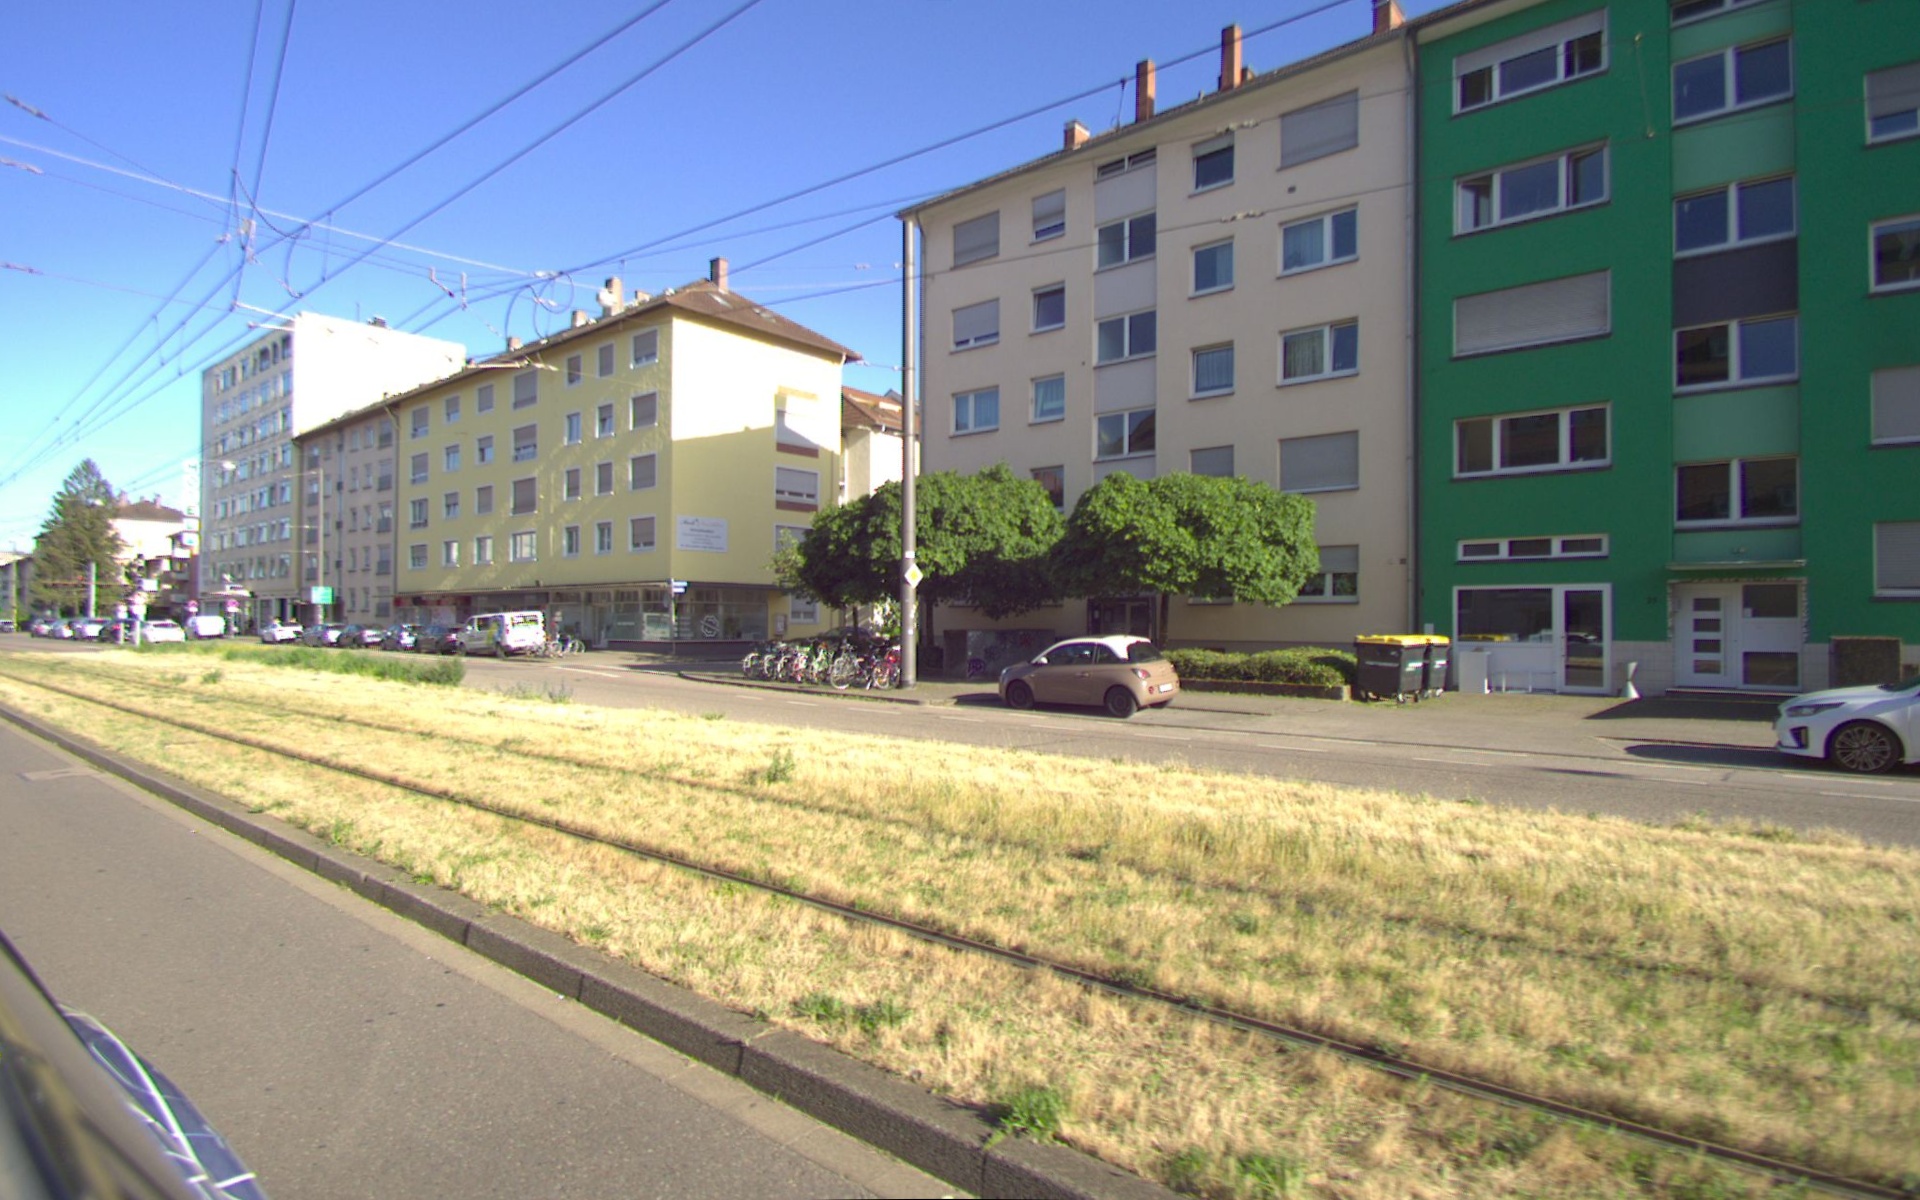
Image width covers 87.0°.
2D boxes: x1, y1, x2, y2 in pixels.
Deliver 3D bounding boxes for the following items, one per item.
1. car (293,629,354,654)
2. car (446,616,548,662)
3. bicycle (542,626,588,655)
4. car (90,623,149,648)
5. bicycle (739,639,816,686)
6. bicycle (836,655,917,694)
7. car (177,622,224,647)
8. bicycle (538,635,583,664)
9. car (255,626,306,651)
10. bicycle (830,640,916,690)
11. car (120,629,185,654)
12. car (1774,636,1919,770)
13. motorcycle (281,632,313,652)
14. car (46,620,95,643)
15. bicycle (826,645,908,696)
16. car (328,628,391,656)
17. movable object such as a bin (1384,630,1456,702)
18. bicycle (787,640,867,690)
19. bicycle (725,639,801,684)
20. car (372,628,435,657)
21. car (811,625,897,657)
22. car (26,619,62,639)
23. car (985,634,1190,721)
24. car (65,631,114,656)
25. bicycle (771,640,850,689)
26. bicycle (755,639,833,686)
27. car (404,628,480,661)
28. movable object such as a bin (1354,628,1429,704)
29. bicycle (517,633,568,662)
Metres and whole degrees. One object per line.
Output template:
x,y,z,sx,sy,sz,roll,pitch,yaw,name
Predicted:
-38.727,2.486,61.550,4.410,1.395,1.766,-1,1,39,car
-21.611,1.765,47.104,5.493,1.964,1.975,-1,1,38,car
-16.783,1.713,43.042,0.390,1.114,1.800,-1,1,41,bicycle
-52.833,2.236,63.570,4.406,1.540,1.767,-1,-3,36,car
-4.914,1.664,27.403,2.024,1.101,0.616,-2,1,-44,bicycle
-1.997,1.752,24.020,2.046,0.872,0.374,-1,0,30,bicycle
-61.534,2.788,81.962,4.665,1.912,1.974,-1,0,39,car
-17.084,2.116,43.329,0.390,1.114,1.800,-1,1,41,bicycle
-45.100,2.507,67.104,4.197,1.497,1.740,-1,1,41,car
-2.163,1.612,25.208,2.019,1.101,0.617,-2,0,-22,bicycle
-47.629,2.424,59.678,4.405,1.395,1.818,-1,-3,35,car
12.089,1.179,11.486,4.374,1.465,1.711,-1,-1,41,car
-42.114,2.671,64.307,0.481,1.147,2.107,-1,1,7,motorcycle
-63.948,2.252,72.732,4.236,1.562,1.838,-1,-4,39,car
-2.175,1.625,23.571,1.928,1.101,0.506,-1,0,30,bicycle
-34.428,2.370,57.974,4.412,1.431,1.765,-1,1,41,car
9.536,1.342,20.986,1.039,1.378,1.134,-1,1,43,movable object such as a bin
-3.389,1.638,25.879,2.024,1.101,0.616,-2,1,-44,bicycle
-5.401,1.673,27.899,2.024,1.101,0.616,-2,1,-44,bicycle
-29.933,2.243,54.422,3.766,1.395,1.765,-1,1,41,car
-4.961,1.932,47.749,1.771,1.424,3.948,-1,-3,38,car
-73.881,2.357,81.605,3.997,1.571,1.597,-1,-4,40,car
2.461,1.450,19.978,3.730,1.453,1.620,-1,0,39,car
-58.592,2.915,68.091,4.604,1.593,1.764,-2,-3,41,car
-3.870,1.662,26.356,2.024,1.101,0.616,-2,1,-44,bicycle
-4.403,1.640,26.922,2.024,1.101,0.616,-2,1,-44,bicycle
-25.987,2.197,50.736,4.593,1.485,1.765,-1,1,41,car
8.579,1.288,20.124,1.039,1.378,1.134,-1,1,43,movable object such as a bin
-18.268,2.070,44.314,0.472,1.114,2.076,-1,1,41,bicycle
